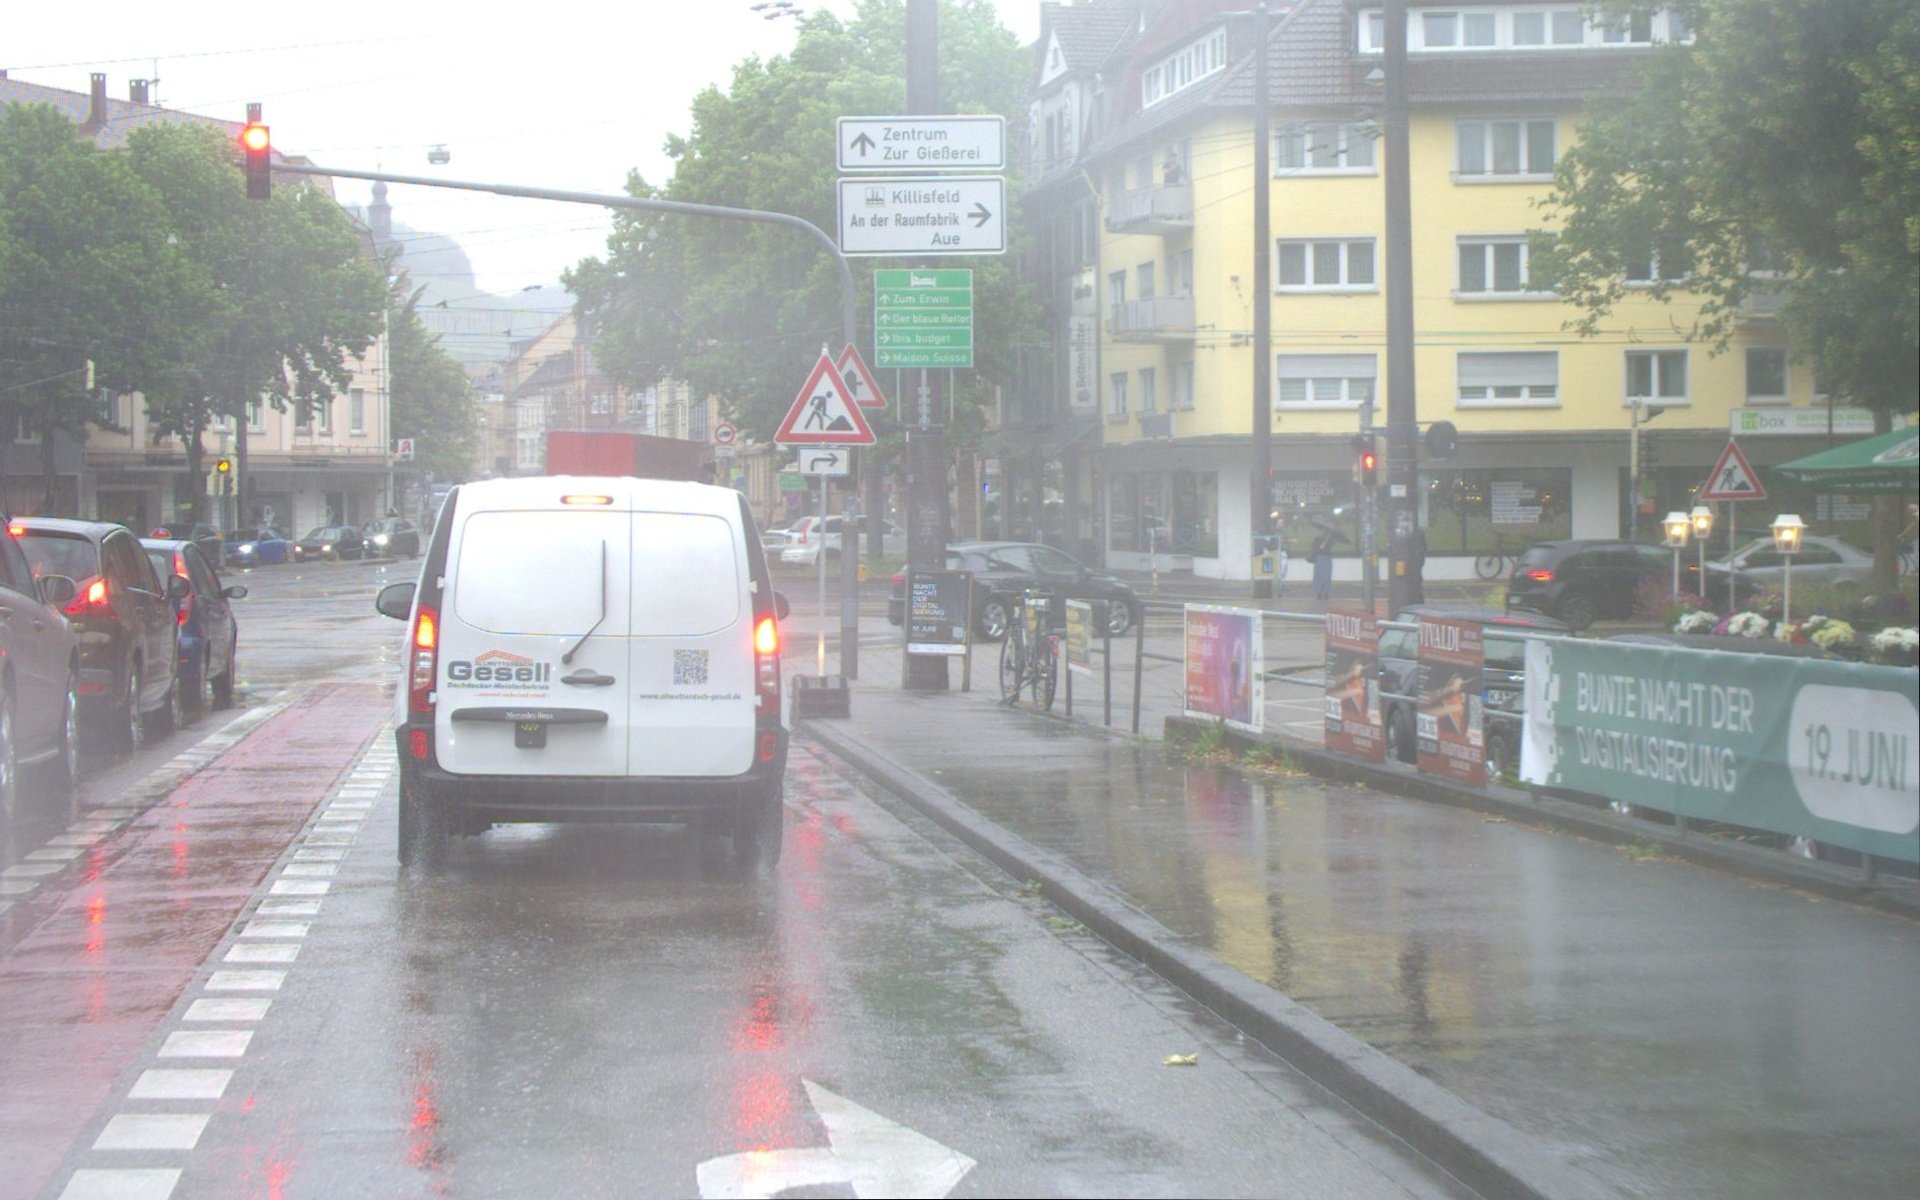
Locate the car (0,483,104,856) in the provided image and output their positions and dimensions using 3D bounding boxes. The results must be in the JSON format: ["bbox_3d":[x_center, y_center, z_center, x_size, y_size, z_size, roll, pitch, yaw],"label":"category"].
[{"bbox_3d":[-5.795,0.275,18.060,2.024,1.764,4.463,1,1,-8],"label":"car"}]

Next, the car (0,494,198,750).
[{"bbox_3d":[-6.604,0.101,24.576,1.834,1.662,4.173,1,1,-7],"label":"car"}]

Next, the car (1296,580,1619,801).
[{"bbox_3d":[3.908,0.672,27.580,1.705,1.437,3.526,4,2,-5],"label":"car"}]

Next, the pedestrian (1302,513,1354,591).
[{"bbox_3d":[7.309,-0.957,68.220,0.814,1.528,0.622,1,1,-45],"label":"pedestrian"}]

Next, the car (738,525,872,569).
[{"bbox_3d":[-4.291,-1.463,94.988,3.440,1.126,1.472,1,1,-14],"label":"car"}]

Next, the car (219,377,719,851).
[{"bbox_3d":[-2.394,0.039,17.186,2.100,2.005,4.964,1,1,-7],"label":"car"}]

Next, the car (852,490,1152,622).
[{"bbox_3d":[0.622,-0.657,51.583,3.986,1.859,2.000,1,1,-25],"label":"car"}]

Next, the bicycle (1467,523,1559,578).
[{"bbox_3d":[13.061,-1.168,81.218,2.102,1.257,0.532,1,2,8],"label":"bicycle"}]

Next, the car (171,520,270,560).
[{"bbox_3d":[-25.144,-2.046,117.001,1.951,1.235,3.999,1,2,10],"label":"car"}]

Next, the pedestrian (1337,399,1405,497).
[{"bbox_3d":[7.201,-2.655,60.244,0.905,1.663,1.019,2,1,23],"label":"pedestrian"}]

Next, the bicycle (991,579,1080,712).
[{"bbox_3d":[0.674,0.394,31.268,0.514,1.103,2.017,4,1,-5],"label":"bicycle"}]

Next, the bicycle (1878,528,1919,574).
[{"bbox_3d":[21.973,-1.091,78.142,2.018,1.023,0.659,1,1,6],"label":"bicycle"}]

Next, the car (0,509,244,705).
[{"bbox_3d":[-7.327,0.029,30.102,1.726,1.573,3.821,1,1,-7],"label":"car"}]

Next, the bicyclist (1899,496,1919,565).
[{"bbox_3d":[21.997,-1.563,78.146,1.066,1.542,0.936,1,1,5],"label":"bicyclist"}]

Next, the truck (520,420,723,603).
[{"bbox_3d":[-10.048,-2.596,104.276,3.470,5.070,15.305,1,1,4],"label":"truck"}]

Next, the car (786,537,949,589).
[{"bbox_3d":[-2.513,-1.000,93.266,4.165,1.334,1.521,0,2,-14],"label":"car"}]

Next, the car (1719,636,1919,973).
[{"bbox_3d":[5.387,1.031,17.130,1.731,1.534,4.076,2,1,-9],"label":"car"}]

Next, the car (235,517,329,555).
[{"bbox_3d":[-24.104,-2.292,122.398,1.951,1.235,3.999,1,2,10],"label":"car"}]

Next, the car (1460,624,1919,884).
[{"bbox_3d":[4.582,0.919,22.061,1.702,1.395,3.974,1,1,-7],"label":"car"}]
